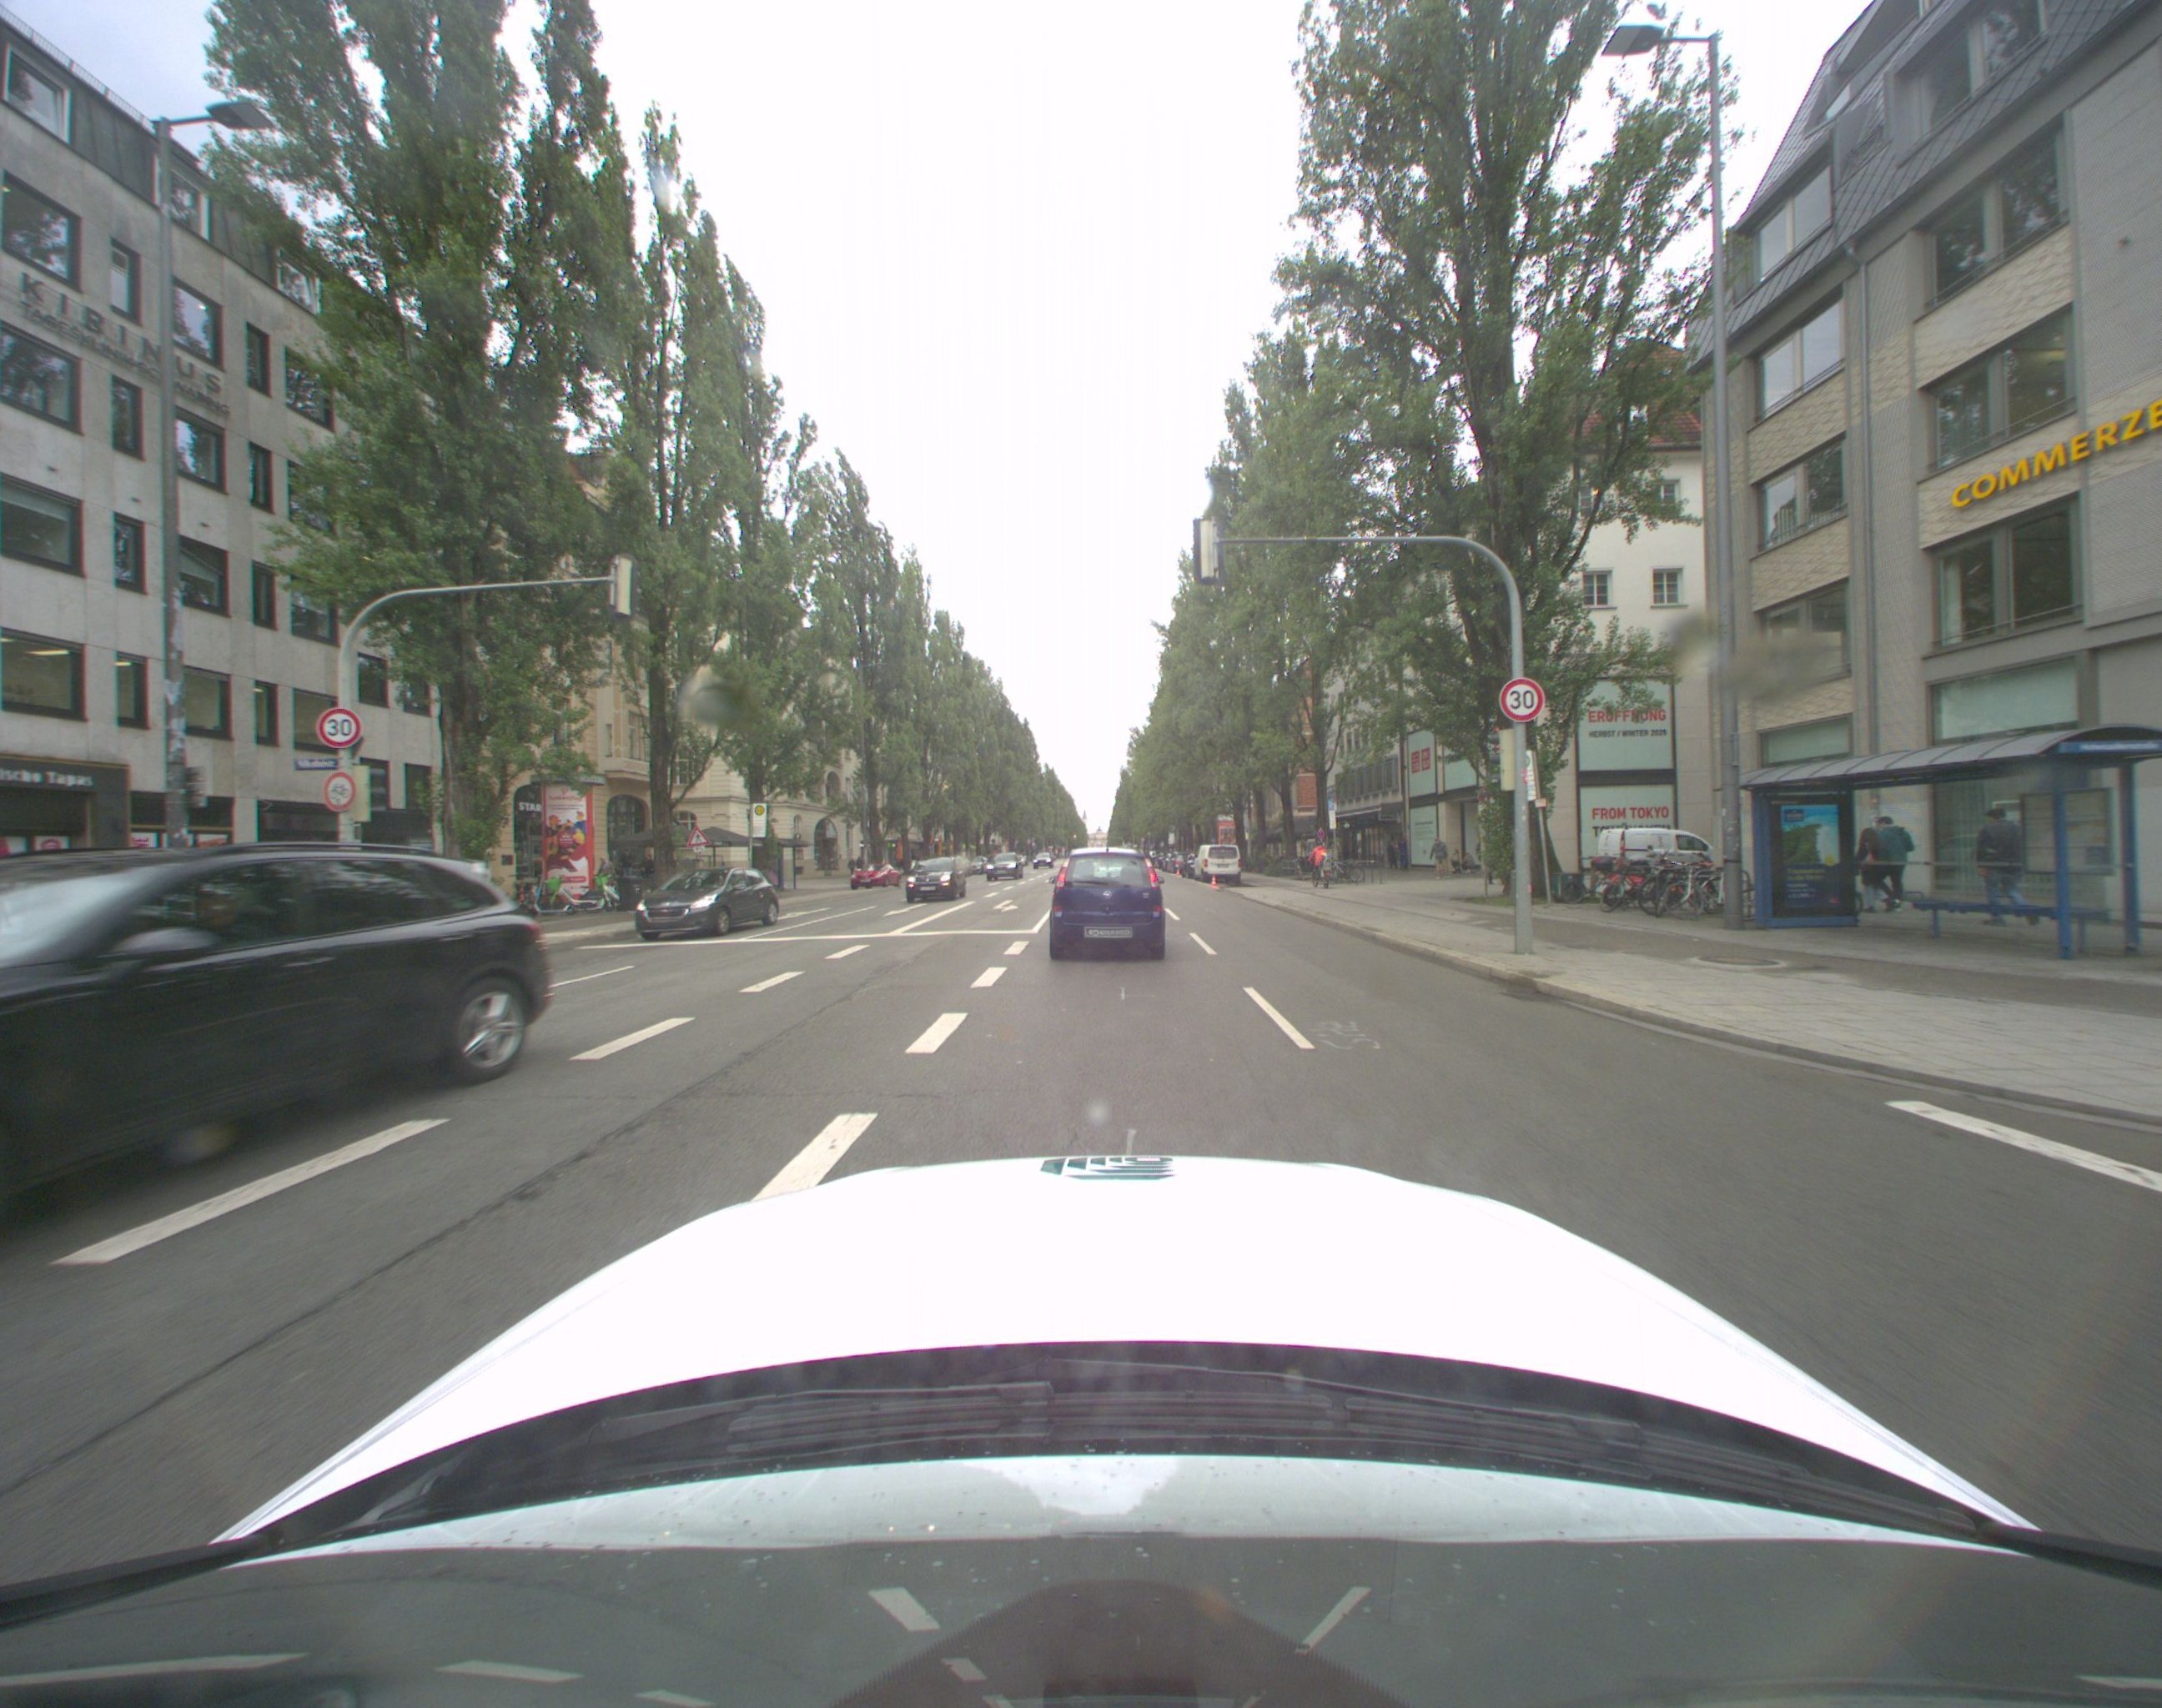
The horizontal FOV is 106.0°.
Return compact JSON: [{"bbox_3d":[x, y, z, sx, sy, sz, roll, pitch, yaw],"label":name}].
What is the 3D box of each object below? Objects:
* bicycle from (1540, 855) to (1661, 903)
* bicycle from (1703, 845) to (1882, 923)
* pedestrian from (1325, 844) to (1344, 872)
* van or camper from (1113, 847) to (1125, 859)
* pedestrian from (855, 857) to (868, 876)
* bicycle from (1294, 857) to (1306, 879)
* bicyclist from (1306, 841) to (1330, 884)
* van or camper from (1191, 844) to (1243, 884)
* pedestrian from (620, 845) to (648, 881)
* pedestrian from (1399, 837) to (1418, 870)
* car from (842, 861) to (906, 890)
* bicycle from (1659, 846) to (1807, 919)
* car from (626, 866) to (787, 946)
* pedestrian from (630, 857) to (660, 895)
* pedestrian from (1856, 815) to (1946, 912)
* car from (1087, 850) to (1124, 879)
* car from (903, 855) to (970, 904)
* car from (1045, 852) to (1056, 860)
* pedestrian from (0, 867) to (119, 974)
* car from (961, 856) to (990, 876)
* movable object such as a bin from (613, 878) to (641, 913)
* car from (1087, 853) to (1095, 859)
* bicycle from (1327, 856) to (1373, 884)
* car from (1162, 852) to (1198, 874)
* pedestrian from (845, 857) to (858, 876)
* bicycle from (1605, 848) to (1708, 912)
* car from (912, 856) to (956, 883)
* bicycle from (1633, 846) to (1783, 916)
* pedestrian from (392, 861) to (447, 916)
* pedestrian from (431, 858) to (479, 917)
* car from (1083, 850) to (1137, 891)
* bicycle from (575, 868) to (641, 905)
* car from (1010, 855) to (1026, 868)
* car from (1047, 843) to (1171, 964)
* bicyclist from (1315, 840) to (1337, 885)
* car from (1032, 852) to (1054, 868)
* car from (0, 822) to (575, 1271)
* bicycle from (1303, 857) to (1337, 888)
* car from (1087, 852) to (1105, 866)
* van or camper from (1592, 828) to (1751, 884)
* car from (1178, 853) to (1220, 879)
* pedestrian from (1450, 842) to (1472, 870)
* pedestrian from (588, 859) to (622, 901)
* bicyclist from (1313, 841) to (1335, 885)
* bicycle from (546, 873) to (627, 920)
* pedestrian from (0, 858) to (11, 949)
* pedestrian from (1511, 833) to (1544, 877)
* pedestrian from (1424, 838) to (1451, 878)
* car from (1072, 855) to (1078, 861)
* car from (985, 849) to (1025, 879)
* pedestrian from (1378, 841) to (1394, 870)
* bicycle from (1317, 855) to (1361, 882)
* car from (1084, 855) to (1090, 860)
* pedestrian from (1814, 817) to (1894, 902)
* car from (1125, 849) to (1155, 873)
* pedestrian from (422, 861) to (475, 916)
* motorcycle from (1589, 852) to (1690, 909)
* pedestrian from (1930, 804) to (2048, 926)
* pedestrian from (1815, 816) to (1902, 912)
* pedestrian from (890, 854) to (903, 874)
[{"bbox_3d":[11.692,0.554,18.379,2.141,1.017,0.874,-1,0,0],"label":"bicycle"},{"bbox_3d":[11.958,0.496,13.773,2.219,1.252,0.480,-1,0,25],"label":"bicycle"},{"bbox_3d":[16.506,0.254,53.036,0.823,1.841,1.100,-2,0,1],"label":"pedestrian"},{"bbox_3d":[8.304,-0.217,178.033,2.467,2.581,5.846,-2,0,2],"label":"van or camper"},{"bbox_3d":[-17.727,1.013,65.778,0.766,1.537,0.805,-1,0,1],"label":"pedestrian"},{"bbox_3d":[10.631,0.661,39.503,0.362,1.038,1.735,-1,0,9],"label":"bicycle"},{"bbox_3d":[8.847,0.320,30.408,0.619,1.588,0.753,-2,0,0],"label":"bicyclist"},{"bbox_3d":[6.838,0.486,41.445,1.862,1.883,4.904,-1,0,1],"label":"van or camper"},{"bbox_3d":[-22.328,0.456,40.670,0.901,1.744,0.822,-1,0,6],"label":"pedestrian"},{"bbox_3d":[18.175,-0.019,45.203,0.861,1.829,0.841,-1,0,29],"label":"pedestrian"},{"bbox_3d":[-10.307,1.055,40.891,1.870,1.298,4.100,-2,0,4],"label":"car"},{"bbox_3d":[11.904,0.516,14.900,2.307,1.252,0.477,-1,0,0],"label":"bicycle"},{"bbox_3d":[-8.148,1.064,18.139,1.636,1.439,3.997,-3,0,0],"label":"car"},{"bbox_3d":[-20.161,1.009,37.654,0.901,1.744,0.822,0,-1,6],"label":"pedestrian"},{"bbox_3d":[15.488,0.191,15.414,0.747,1.758,0.859,-2,-2,2],"label":"pedestrian"},{"bbox_3d":[1.343,0.572,45.945,1.987,1.497,4.000,-2,0,0],"label":"car"},{"bbox_3d":[-4.921,0.815,28.159,1.556,1.496,3.695,-3,0,0],"label":"car"},{"bbox_3d":[-6.744,0.441,180.333,1.987,1.662,4.000,-2,0,0],"label":"car"},{"bbox_3d":[-16.509,1.044,13.150,0.775,1.618,0.935,-2,0,1],"label":"pedestrian"},{"bbox_3d":[-8.939,1.012,69.528,1.776,1.575,4.133,-3,0,1],"label":"car"},{"bbox_3d":[-14.044,1.269,25.204,0.726,1.041,0.848,0,-1,-28],"label":"movable object such as a bin"},{"bbox_3d":[2.456,0.396,200.674,1.955,1.399,3.779,-2,0,1],"label":"car"},{"bbox_3d":[11.122,0.650,33.692,1.758,1.044,0.482,-3,0,-10],"label":"bicycle"},{"bbox_3d":[6.994,0.612,57.894,1.812,1.506,4.229,-2,0,-2],"label":"car"},{"bbox_3d":[-18.596,1.020,65.886,0.766,1.537,0.805,-1,0,1],"label":"pedestrian"},{"bbox_3d":[11.568,0.513,16.393,1.718,1.239,0.450,-2,0,2],"label":"bicycle"},{"bbox_3d":[-9.709,0.992,54.036,1.813,1.618,4.719,-1,1,2],"label":"car"},{"bbox_3d":[11.936,0.500,15.539,2.335,1.252,0.633,-1,0,0],"label":"bicycle"},{"bbox_3d":[-19.078,0.981,23.511,0.748,1.567,0.989,0,-1,0],"label":"pedestrian"},{"bbox_3d":[-19.697,1.038,25.635,0.797,1.787,0.912,0,0,1],"label":"pedestrian"},{"bbox_3d":[1.121,0.615,32.577,1.987,1.497,4.000,-2,0,0],"label":"car"},{"bbox_3d":[-14.794,0.994,25.539,0.502,1.088,1.820,0,0,24],"label":"bicycle"},{"bbox_3d":[-8.390,0.982,108.662,1.829,1.546,4.085,-2,0,-1],"label":"car"},{"bbox_3d":[0.401,0.675,13.175,1.675,1.641,4.000,-1,0,0],"label":"car"},{"bbox_3d":[8.831,0.314,29.329,0.619,1.588,0.391,-2,0,0],"label":"bicyclist"},{"bbox_3d":[-3.943,0.607,85.414,1.928,1.623,4.337,-1,0,1],"label":"car"},{"bbox_3d":[-5.113,0.767,4.368,1.877,1.746,4.441,-1,0,2],"label":"car"},{"bbox_3d":[8.859,0.676,30.265,0.624,1.086,2.263,-2,0,1],"label":"bicycle"},{"bbox_3d":[1.651,0.514,91.652,1.987,1.497,4.000,-1,0,0],"label":"car"},{"bbox_3d":[20.361,0.062,28.228,4.085,1.867,1.900,0,0,5],"label":"van or camper"},{"bbox_3d":[6.757,0.661,46.931,1.714,1.442,4.352,1,0,-1],"label":"car"},{"bbox_3d":[17.632,0.080,37.813,0.667,1.234,0.685,-2,1,2],"label":"pedestrian"},{"bbox_3d":[-20.134,1.084,34.429,0.840,1.744,0.955,0,-1,2],"label":"pedestrian"},{"bbox_3d":[8.842,0.316,29.655,0.619,1.588,0.481,-2,0,0],"label":"bicyclist"},{"bbox_3d":[-14.416,1.218,23.767,1.965,1.289,0.502,0,-1,-42],"label":"bicycle"},{"bbox_3d":[-21.671,0.989,15.799,0.696,1.787,0.821,-1,0,2],"label":"pedestrian"},{"bbox_3d":[17.583,0.034,32.107,0.747,1.718,0.963,-1,0,1],"label":"pedestrian"},{"bbox_3d":[15.189,0.149,34.692,0.815,1.673,0.993,-2,0,36],"label":"pedestrian"},{"bbox_3d":[-1.982,1.176,254.804,1.829,1.739,3.779,-2,0,1],"label":"car"},{"bbox_3d":[-4.642,0.590,50.370,1.906,1.680,4.587,-1,0,1],"label":"car"},{"bbox_3d":[17.324,0.087,46.250,0.666,1.609,0.773,-1,0,8],"label":"pedestrian"},{"bbox_3d":[10.919,0.604,34.411,1.737,1.110,0.447,-1,0,-9],"label":"bicycle"},{"bbox_3d":[1.782,1.108,252.458,1.829,1.677,3.779,-2,0,1],"label":"car"},{"bbox_3d":[16.262,0.114,17.159,0.747,1.718,0.963,-1,0,2],"label":"pedestrian"},{"bbox_3d":[4.088,0.479,57.163,1.701,1.574,3.998,-1,0,-1],"label":"car"},{"bbox_3d":[-18.356,0.981,23.645,0.748,1.567,0.989,0,-1,0],"label":"pedestrian"},{"bbox_3d":[11.606,0.542,16.949,1.718,1.140,0.510,-2,0,2],"label":"motorcycle"},{"bbox_3d":[14.132,0.161,12.705,0.815,1.818,0.890,-1,0,-1],"label":"pedestrian"},{"bbox_3d":[14.720,0.193,15.444,0.747,1.758,0.859,-2,-2,2],"label":"pedestrian"},{"bbox_3d":[-16.805,0.888,74.317,0.848,1.744,1.148,-1,0,2],"label":"pedestrian"}]
